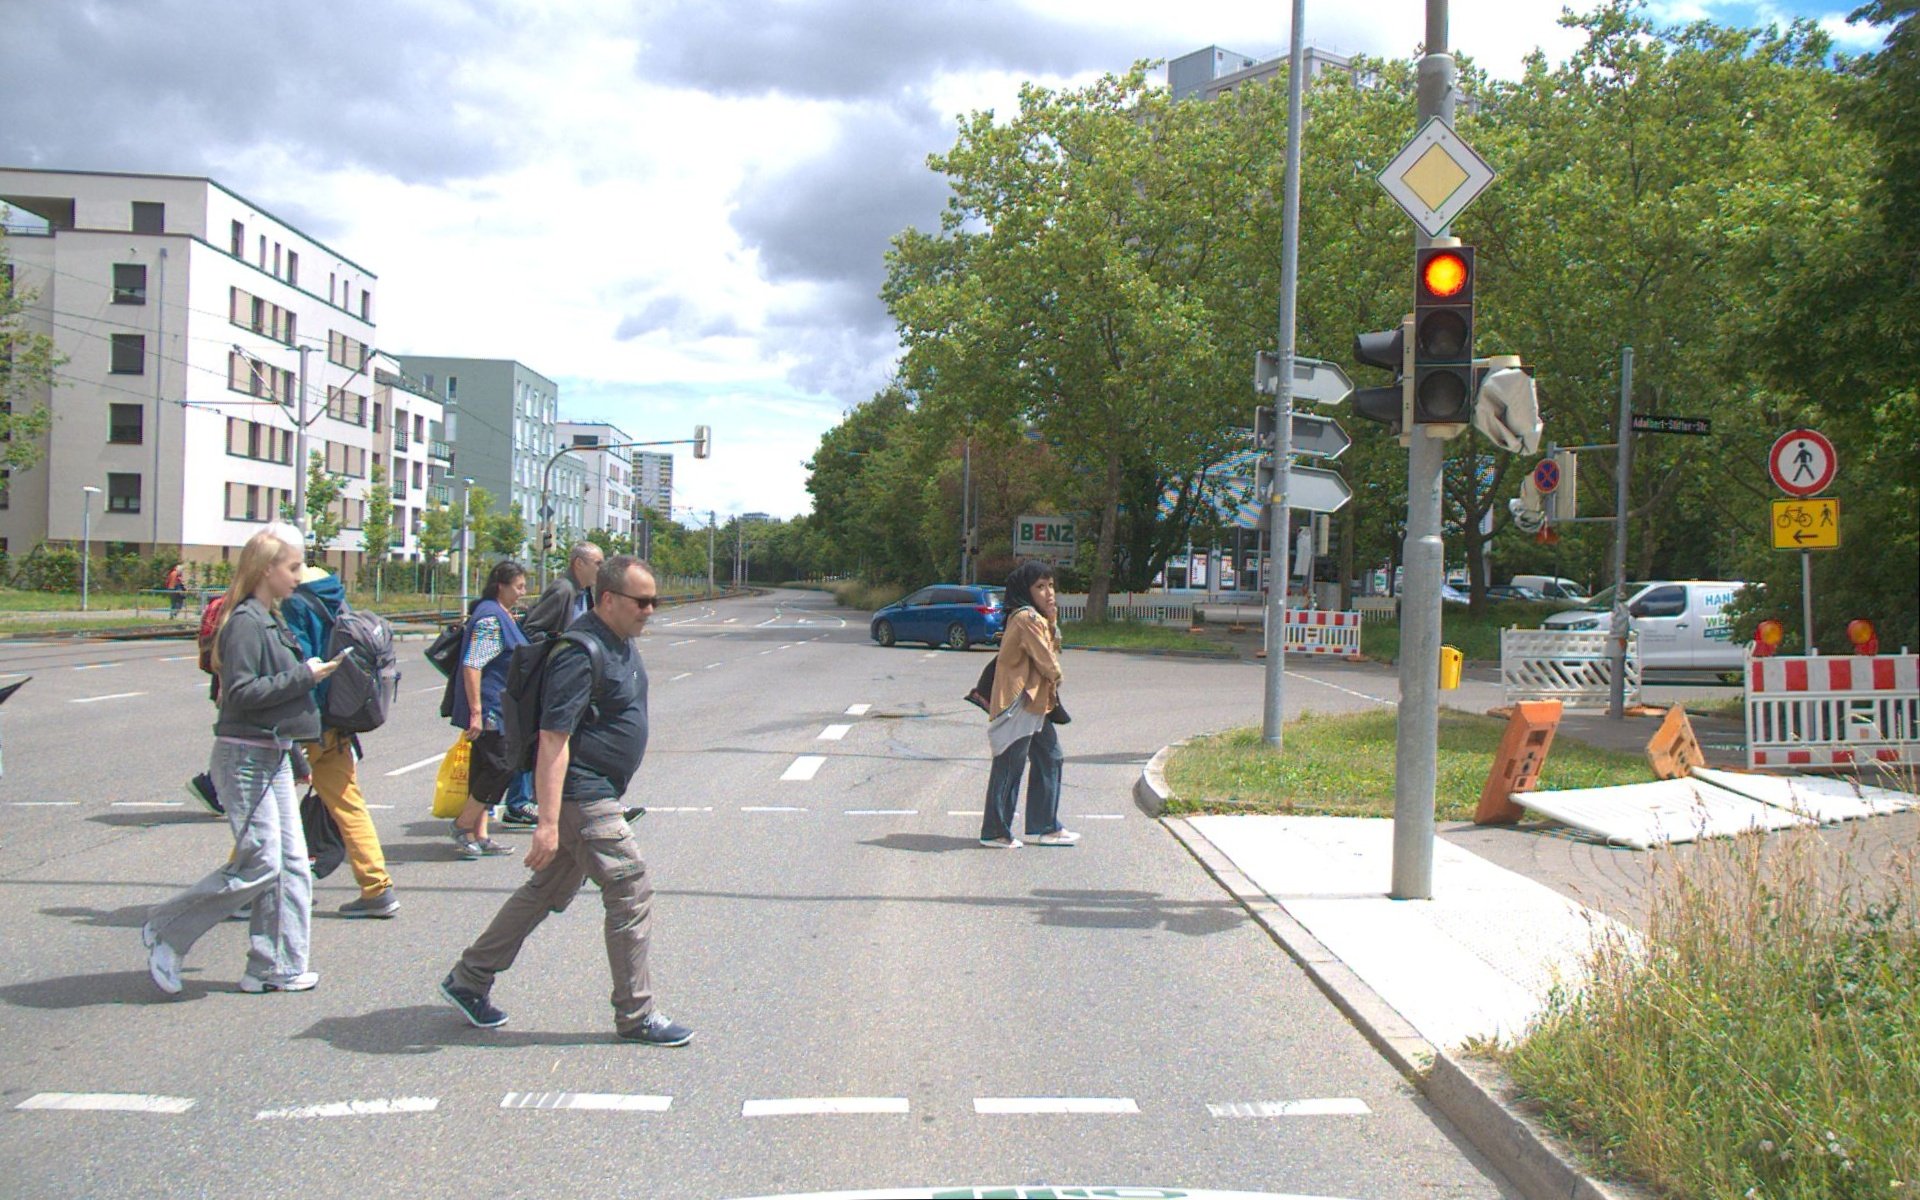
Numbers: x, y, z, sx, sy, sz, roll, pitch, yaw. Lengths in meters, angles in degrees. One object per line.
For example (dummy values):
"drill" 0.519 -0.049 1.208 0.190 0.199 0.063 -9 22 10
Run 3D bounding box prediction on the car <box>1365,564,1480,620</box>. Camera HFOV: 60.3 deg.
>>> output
"car" 17.522 -0.317 62.829 1.974 2.049 3.957 0 1 -32

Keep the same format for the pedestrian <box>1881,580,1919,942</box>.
"pedestrian" 4.671 0.709 7.098 0.928 1.579 0.842 1 0 -6

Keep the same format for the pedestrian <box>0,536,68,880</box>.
"pedestrian" -5.070 0.511 8.281 0.853 1.663 0.763 1 0 -12

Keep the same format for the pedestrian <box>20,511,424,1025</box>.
"pedestrian" -2.577 0.549 5.899 0.999 1.677 0.929 1 0 0

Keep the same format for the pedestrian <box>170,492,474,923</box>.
"pedestrian" -2.826 0.454 7.442 0.989 1.805 0.948 1 0 -2

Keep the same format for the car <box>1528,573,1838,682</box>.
"car" 13.422 0.499 30.863 4.976 1.906 1.947 1 0 -5

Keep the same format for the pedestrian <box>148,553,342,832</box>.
"pedestrian" -4.355 0.537 10.140 0.876 1.624 0.906 1 0 -9

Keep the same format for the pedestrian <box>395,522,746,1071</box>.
"pedestrian" -1.252 0.599 5.518 0.939 1.677 0.880 1 0 0

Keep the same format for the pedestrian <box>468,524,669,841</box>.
"pedestrian" -2.322 0.470 9.928 0.982 1.804 0.929 1 0 -1

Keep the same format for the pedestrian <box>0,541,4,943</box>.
"pedestrian" -4.199 0.558 6.134 0.863 1.582 0.746 1 0 -1

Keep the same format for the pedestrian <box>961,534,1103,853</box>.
"pedestrian" 0.404 0.519 9.666 0.766 1.773 0.828 1 0 -1

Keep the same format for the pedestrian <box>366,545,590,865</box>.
"pedestrian" -2.584 0.534 8.973 0.893 1.635 0.929 1 0 3

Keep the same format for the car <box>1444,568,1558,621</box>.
"car" 21.367 -0.238 65.462 1.974 2.049 3.957 0 1 -32

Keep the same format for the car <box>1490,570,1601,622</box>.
"car" 23.934 -0.186 67.698 1.974 2.049 3.957 0 1 -32

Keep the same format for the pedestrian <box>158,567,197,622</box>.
"pedestrian" -22.416 -0.160 47.398 0.814 1.542 0.636 1 0 -1

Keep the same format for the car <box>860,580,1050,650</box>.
"car" -0.176 0.309 38.491 1.973 1.512 4.420 0 1 -43
